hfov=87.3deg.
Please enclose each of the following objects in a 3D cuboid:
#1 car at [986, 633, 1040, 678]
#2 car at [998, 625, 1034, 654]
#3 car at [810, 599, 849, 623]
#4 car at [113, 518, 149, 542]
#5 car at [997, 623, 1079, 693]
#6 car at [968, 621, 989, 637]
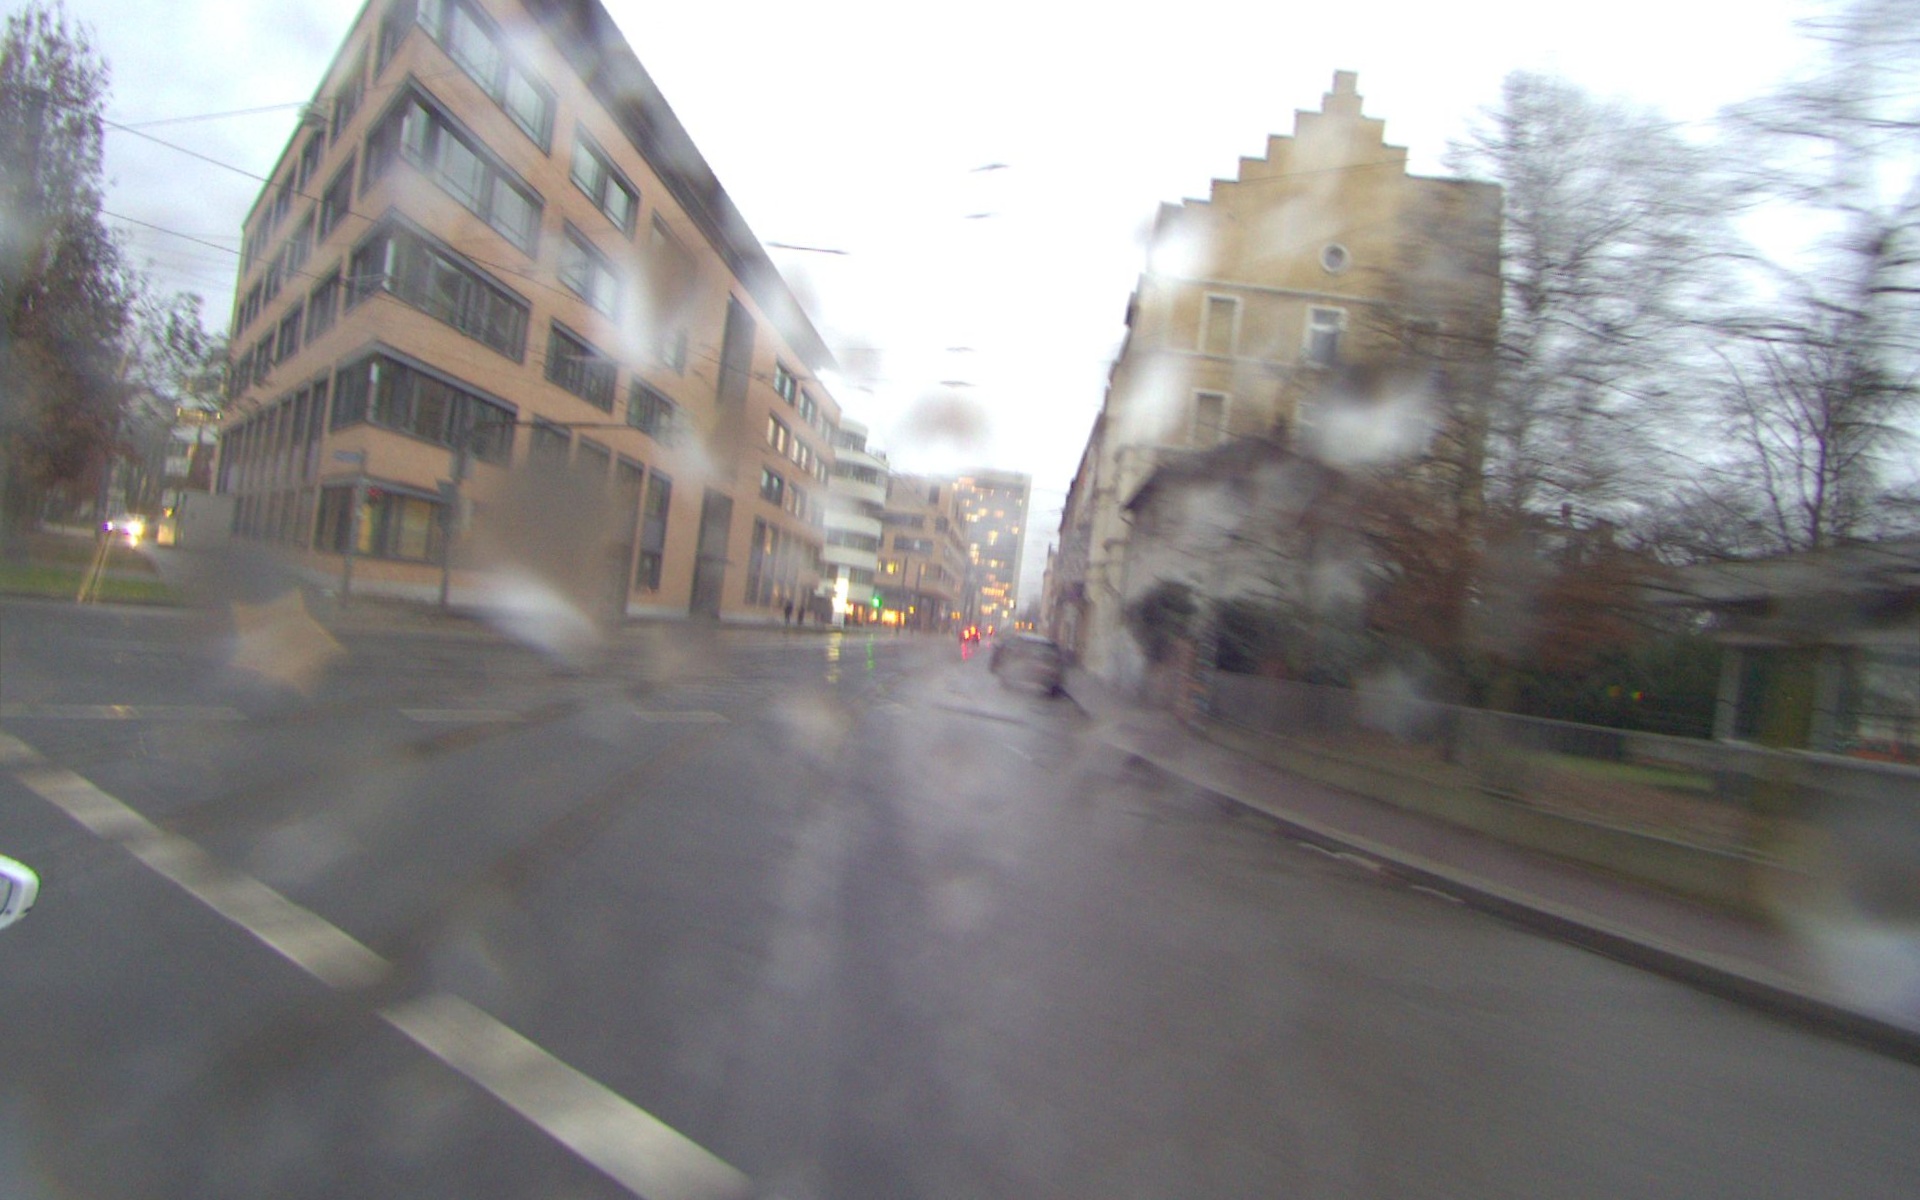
[{"bbox_3d":[2.207,2.251,41.549,1.962,1.457,4.515,8,-1,4],"label":"car"},{"bbox_3d":[3.532,2.449,62.948,1.962,1.457,4.515,8,-1,4],"label":"car"},{"bbox_3d":[-9.589,0.850,74.099,1.962,1.457,3.928,8,-1,4],"label":"car"},{"bbox_3d":[-53.418,-4.529,64.799,1.661,1.195,3.665,8,-1,-41],"label":"car"},{"bbox_3d":[2.295,1.701,30.843,1.963,1.689,4.513,8,-1,0],"label":"car"},{"bbox_3d":[2.083,3.271,112.988,1.962,1.457,4.515,8,-1,4],"label":"car"}]
